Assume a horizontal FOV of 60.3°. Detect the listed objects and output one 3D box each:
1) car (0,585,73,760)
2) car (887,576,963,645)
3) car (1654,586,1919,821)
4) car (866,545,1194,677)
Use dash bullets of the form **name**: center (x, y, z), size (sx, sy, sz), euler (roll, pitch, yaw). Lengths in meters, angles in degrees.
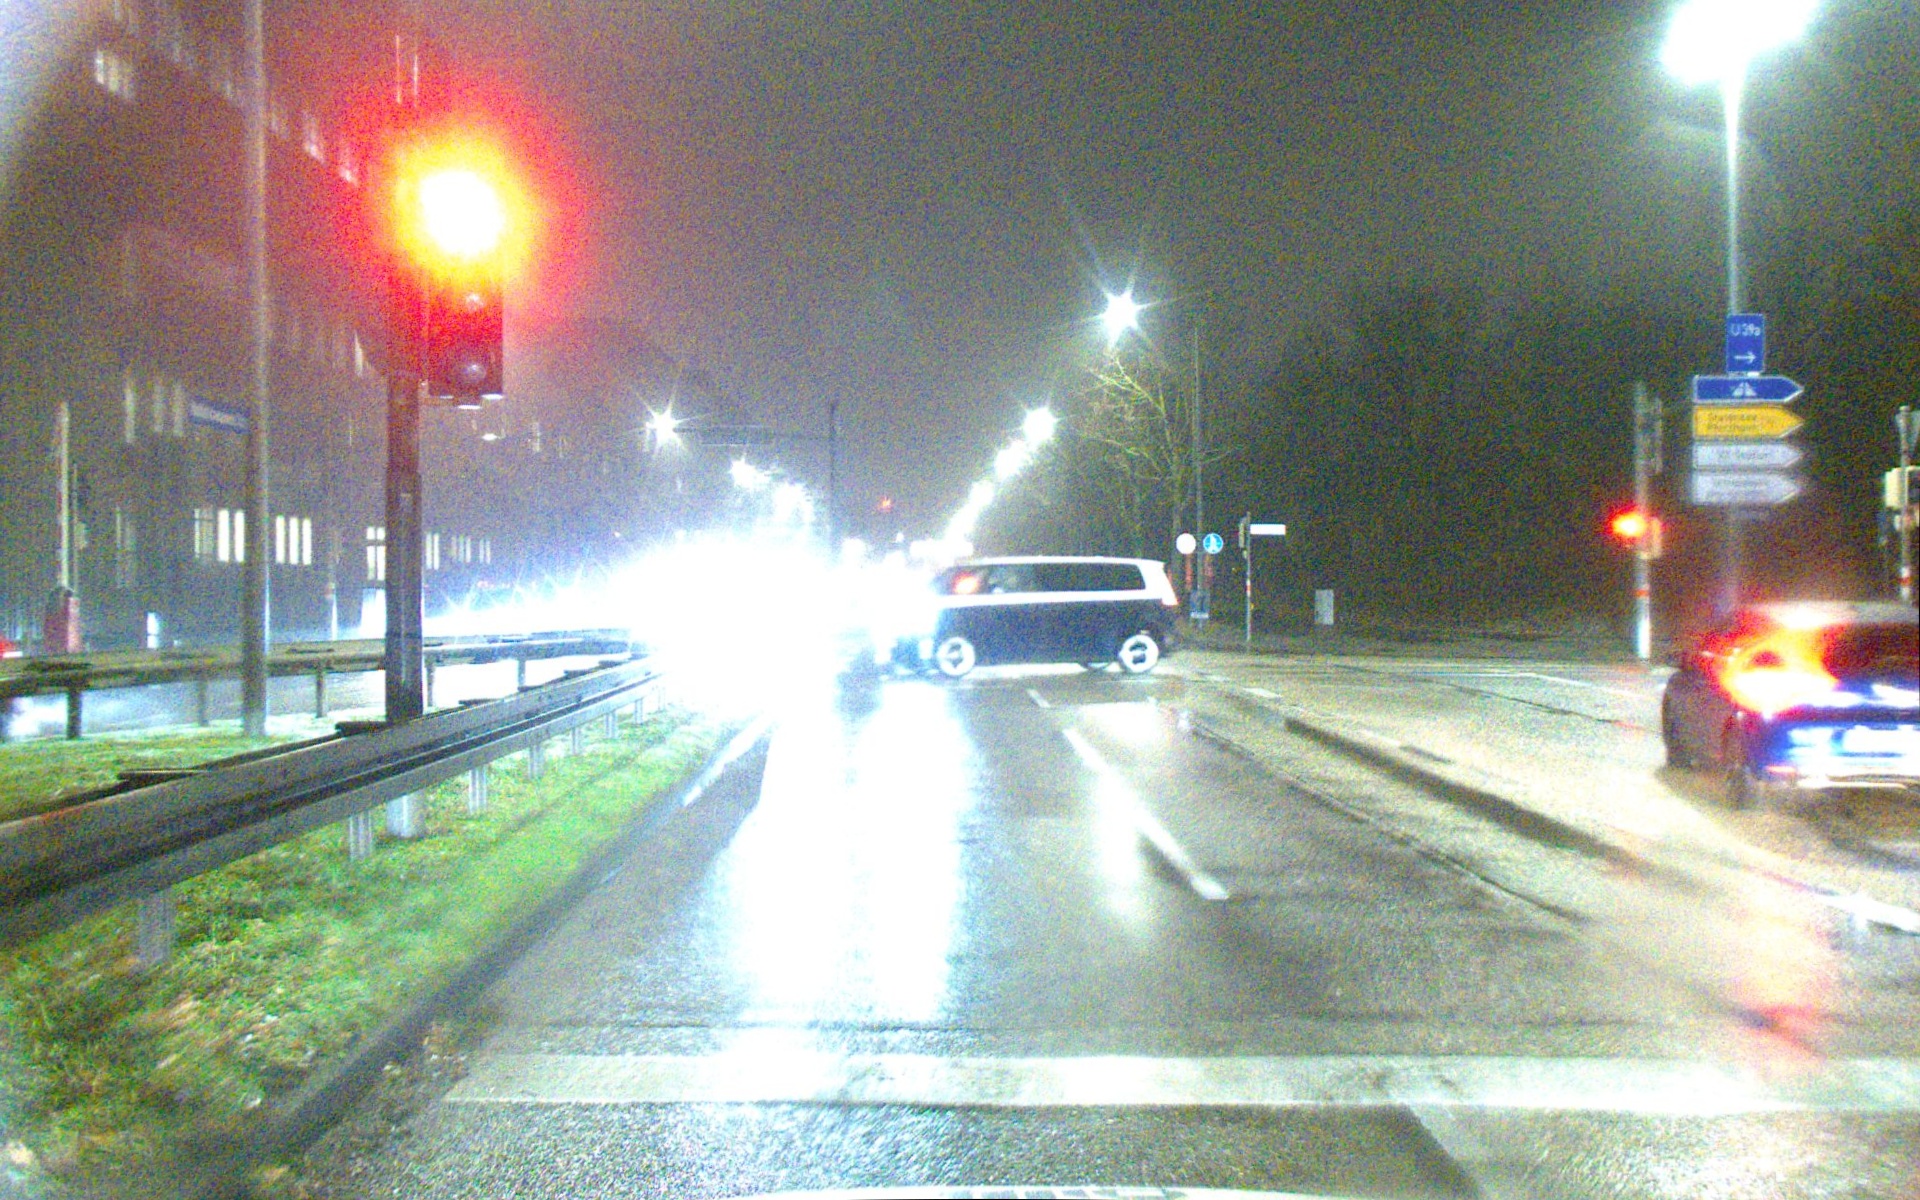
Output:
- **car**: center (-10.328, 0.762, 14.666), size (1.866, 1.615, 4.083), euler (-2, 1, 21)
- **car**: center (-1.240, 0.344, 55.813), size (2.094, 2.182, 4.921), euler (1, 0, -7)
- **car**: center (6.558, 0.662, 12.589), size (1.713, 1.456, 3.764), euler (1, 1, 13)
- **car**: center (1.122, 0.139, 27.059), size (5.013, 2.019, 1.990), euler (0, 0, -18)
